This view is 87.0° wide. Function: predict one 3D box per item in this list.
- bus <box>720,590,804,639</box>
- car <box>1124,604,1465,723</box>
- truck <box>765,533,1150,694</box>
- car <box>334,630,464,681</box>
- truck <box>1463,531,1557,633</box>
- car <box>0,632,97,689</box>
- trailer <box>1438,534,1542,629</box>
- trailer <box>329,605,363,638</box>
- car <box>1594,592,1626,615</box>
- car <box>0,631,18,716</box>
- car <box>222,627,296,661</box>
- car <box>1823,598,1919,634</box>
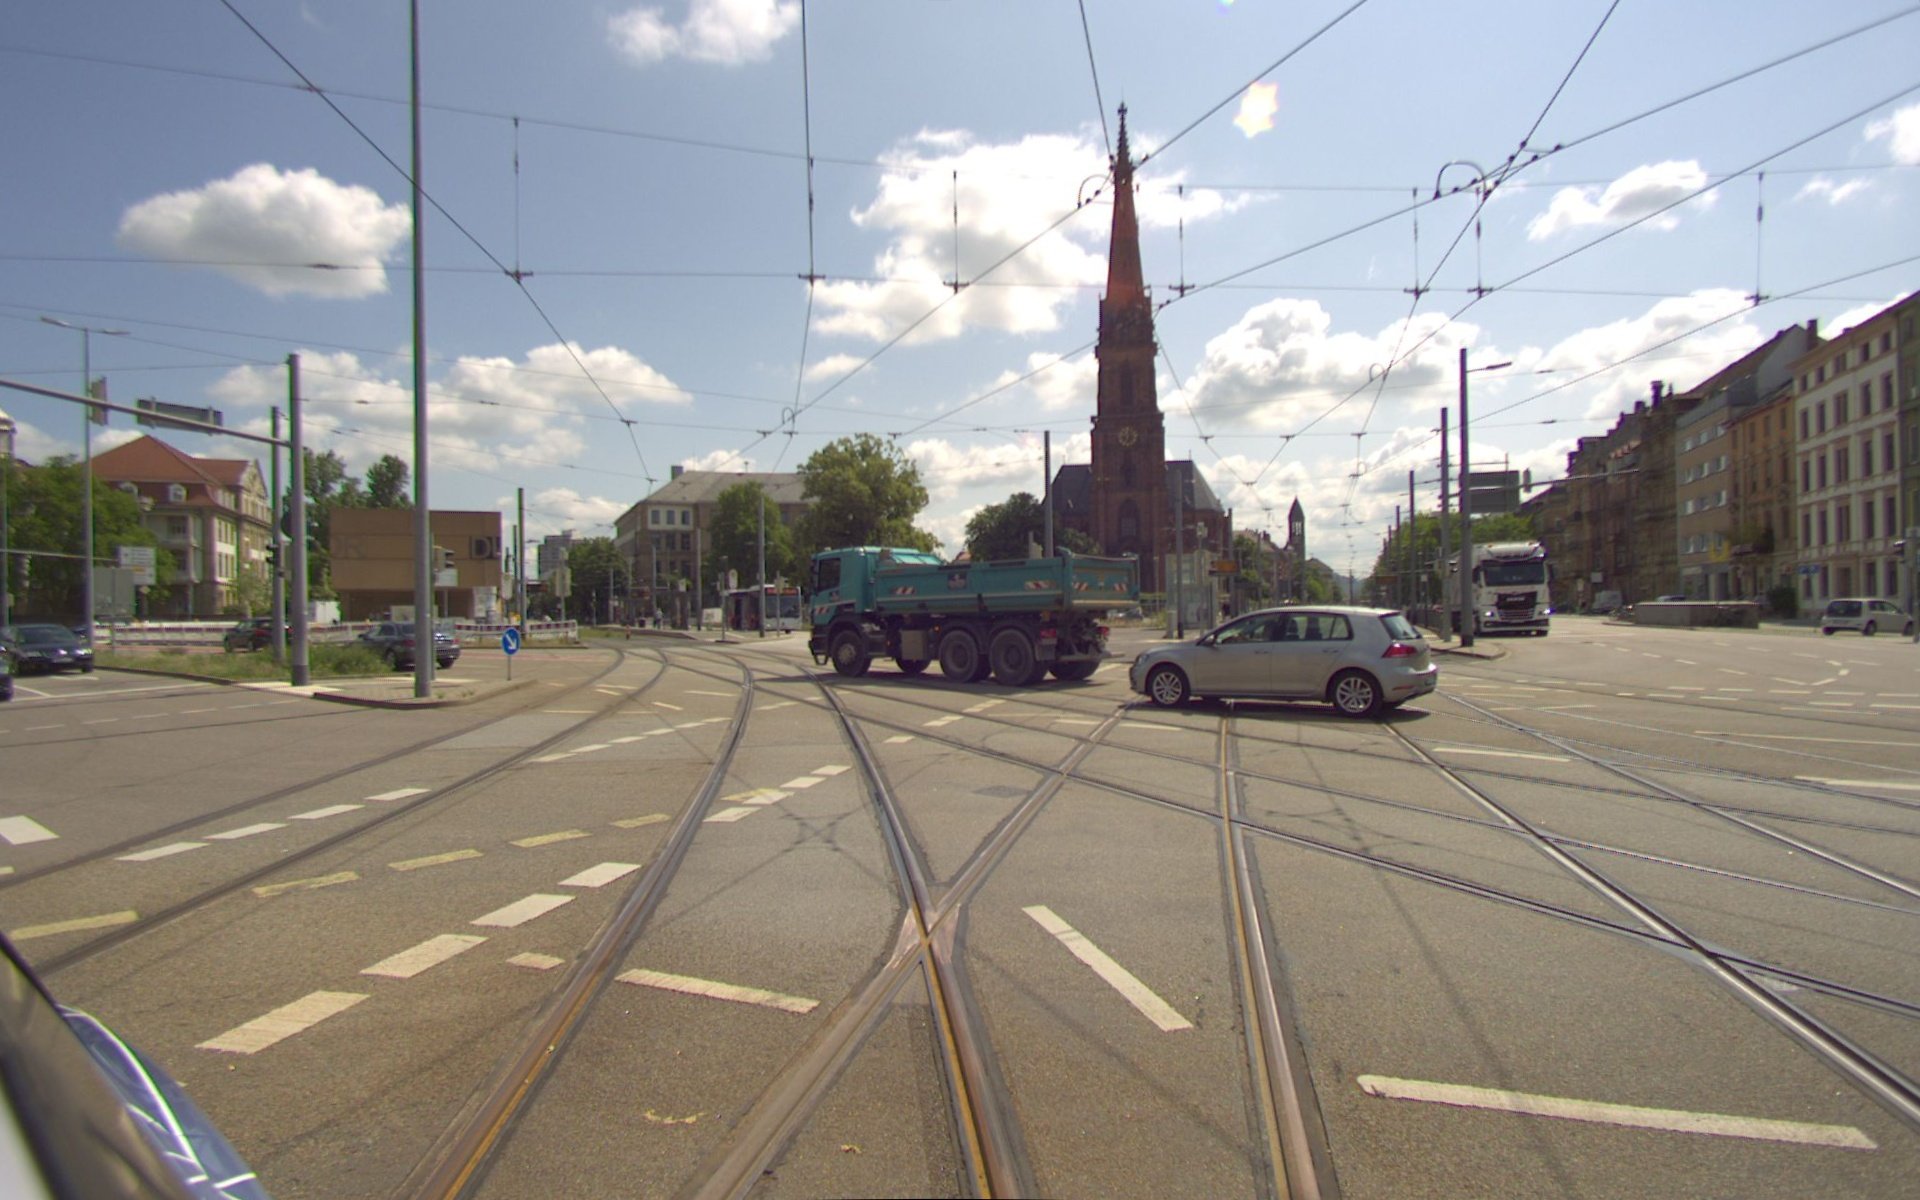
[{"bbox_3d":[-13.372,0.824,67.256,2.550,2.881,12.308,-1,1,-25],"label":"bus"},{"bbox_3d":[4.597,0.820,14.234,4.264,1.444,1.638,-2,-1,37],"label":"car"},{"bbox_3d":[-0.420,0.324,22.094,8.791,2.874,2.854,-2,-1,43],"label":"truck"},{"bbox_3d":[-17.208,1.651,30.930,4.765,1.402,1.638,-1,-1,36],"label":"car"},{"bbox_3d":[23.077,-0.769,42.713,2.688,3.999,5.413,0,1,20],"label":"truck"},{"bbox_3d":[-27.013,1.744,29.653,4.514,1.445,1.731,-2,0,38],"label":"car"},{"bbox_3d":[25.576,-0.902,49.519,2.688,3.999,13.950,0,1,20],"label":"trailer"},{"bbox_3d":[-56.950,1.946,93.824,1.969,2.935,4.373,-1,1,-40],"label":"trailer"},{"bbox_3d":[70.439,0.328,109.744,1.984,2.361,4.095,0,1,19],"label":"car"},{"bbox_3d":[-21.111,1.497,20.827,4.787,1.654,1.909,-2,-1,39],"label":"car"},{"bbox_3d":[-32.246,1.989,46.532,4.147,1.480,1.638,-2,-1,38],"label":"car"},{"bbox_3d":[35.969,0.615,39.688,3.299,1.331,1.663,-1,-1,-17],"label":"car"}]
